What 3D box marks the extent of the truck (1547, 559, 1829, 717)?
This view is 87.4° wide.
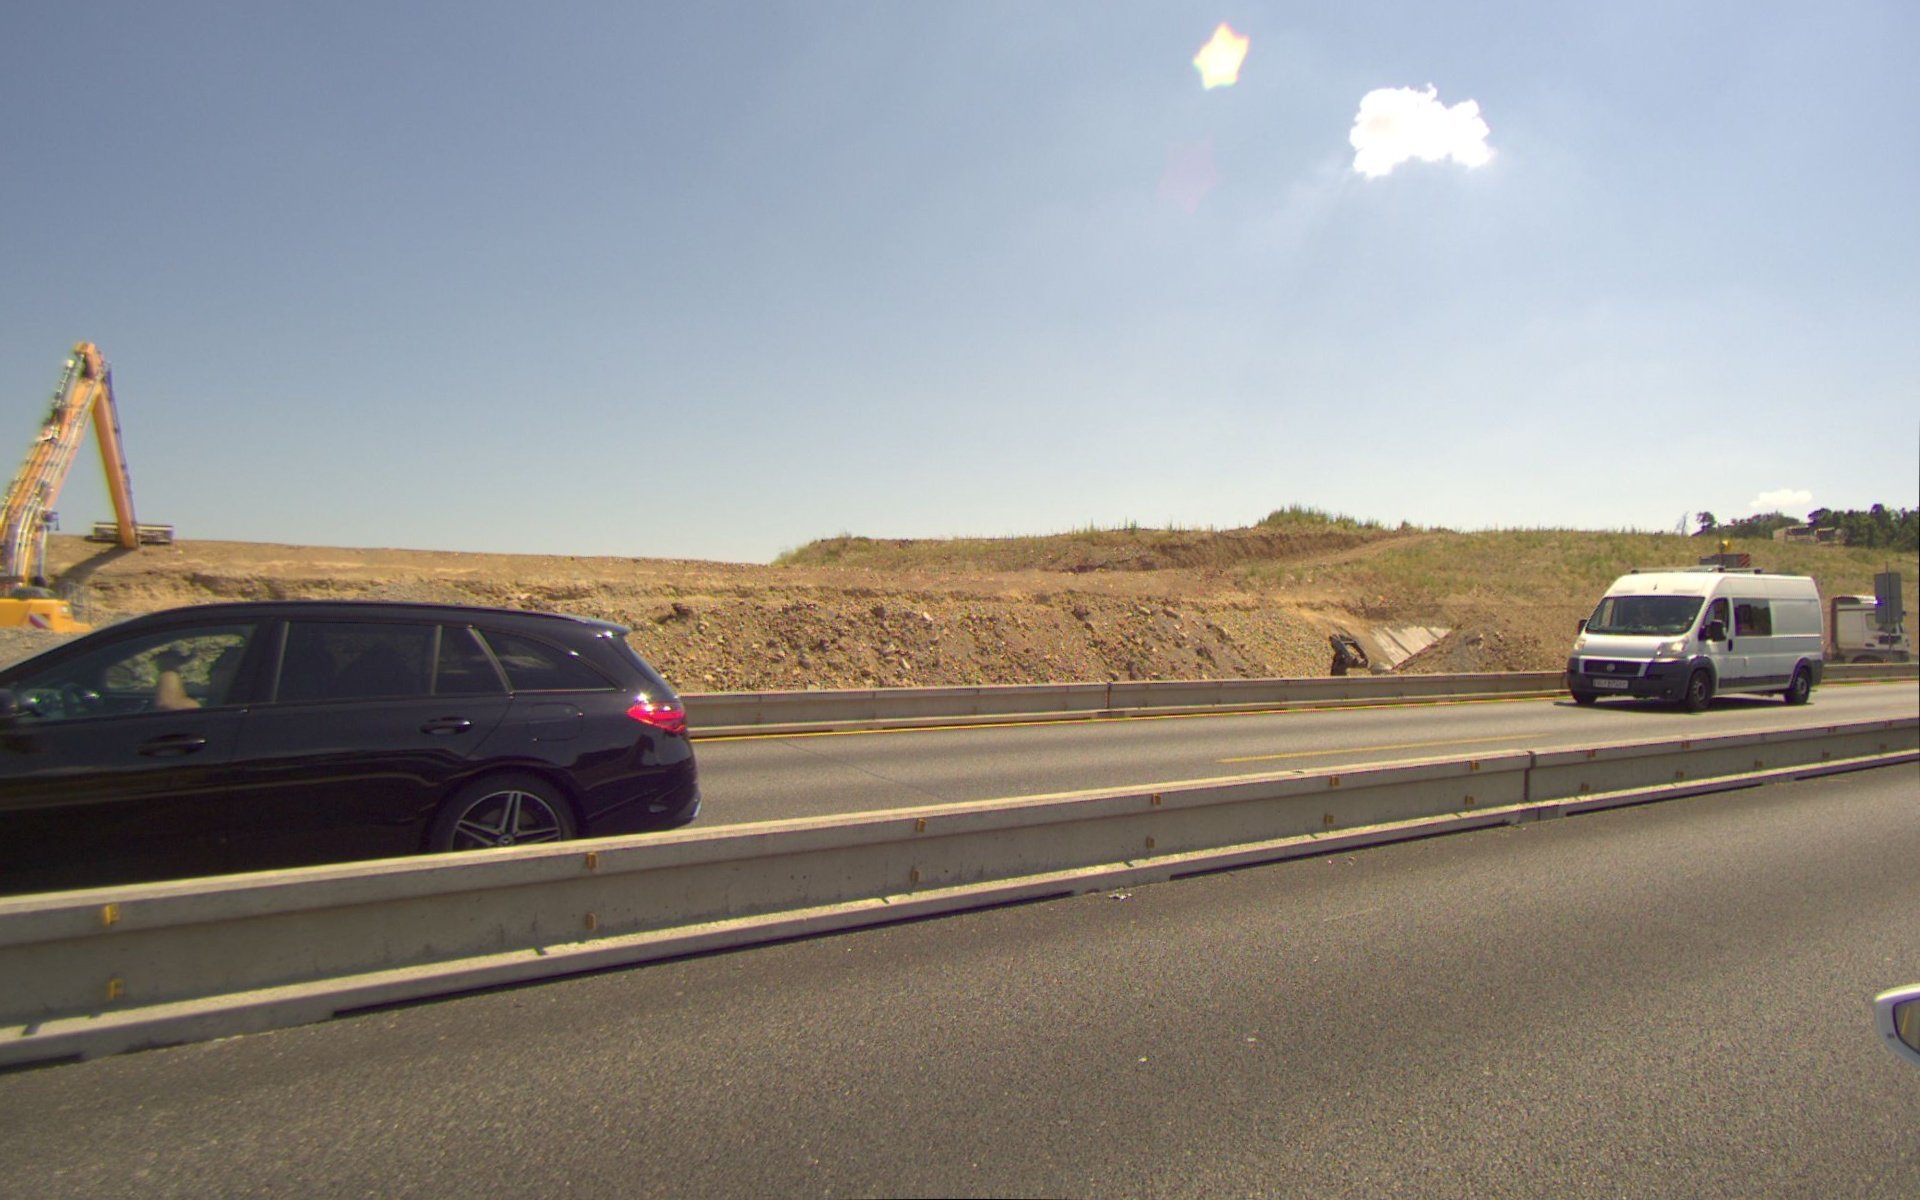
[{"bbox_3d":[13.970,0.604,19.136,6.282,2.604,2.087,0,1,-32],"label":"truck"}]

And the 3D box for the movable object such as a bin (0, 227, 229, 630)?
[{"bbox_3d":[-21.418,-3.035,24.723,3.348,6.862,18.135,2,0,-29],"label":"movable object such as a bin"}]

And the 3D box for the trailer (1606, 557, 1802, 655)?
[{"bbox_3d":[34.946,0.277,47.710,2.745,4.152,8.367,2,0,-2],"label":"trailer"}]

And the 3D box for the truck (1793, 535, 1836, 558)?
[{"bbox_3d":[124.429,-7.776,146.373,2.259,2.785,8.901,2,0,24],"label":"truck"}]

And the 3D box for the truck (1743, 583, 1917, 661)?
[{"bbox_3d":[36.450,0.877,42.326,4.968,3.003,2.584,2,0,27],"label":"truck"}]

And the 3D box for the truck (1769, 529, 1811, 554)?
[{"bbox_3d":[117.657,-8.206,142.519,2.317,2.937,8.362,2,0,24],"label":"truck"}]

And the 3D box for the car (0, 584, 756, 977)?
[{"bbox_3d":[-3.487,0.710,5.001,4.508,1.502,1.780,2,0,-30],"label":"car"}]
